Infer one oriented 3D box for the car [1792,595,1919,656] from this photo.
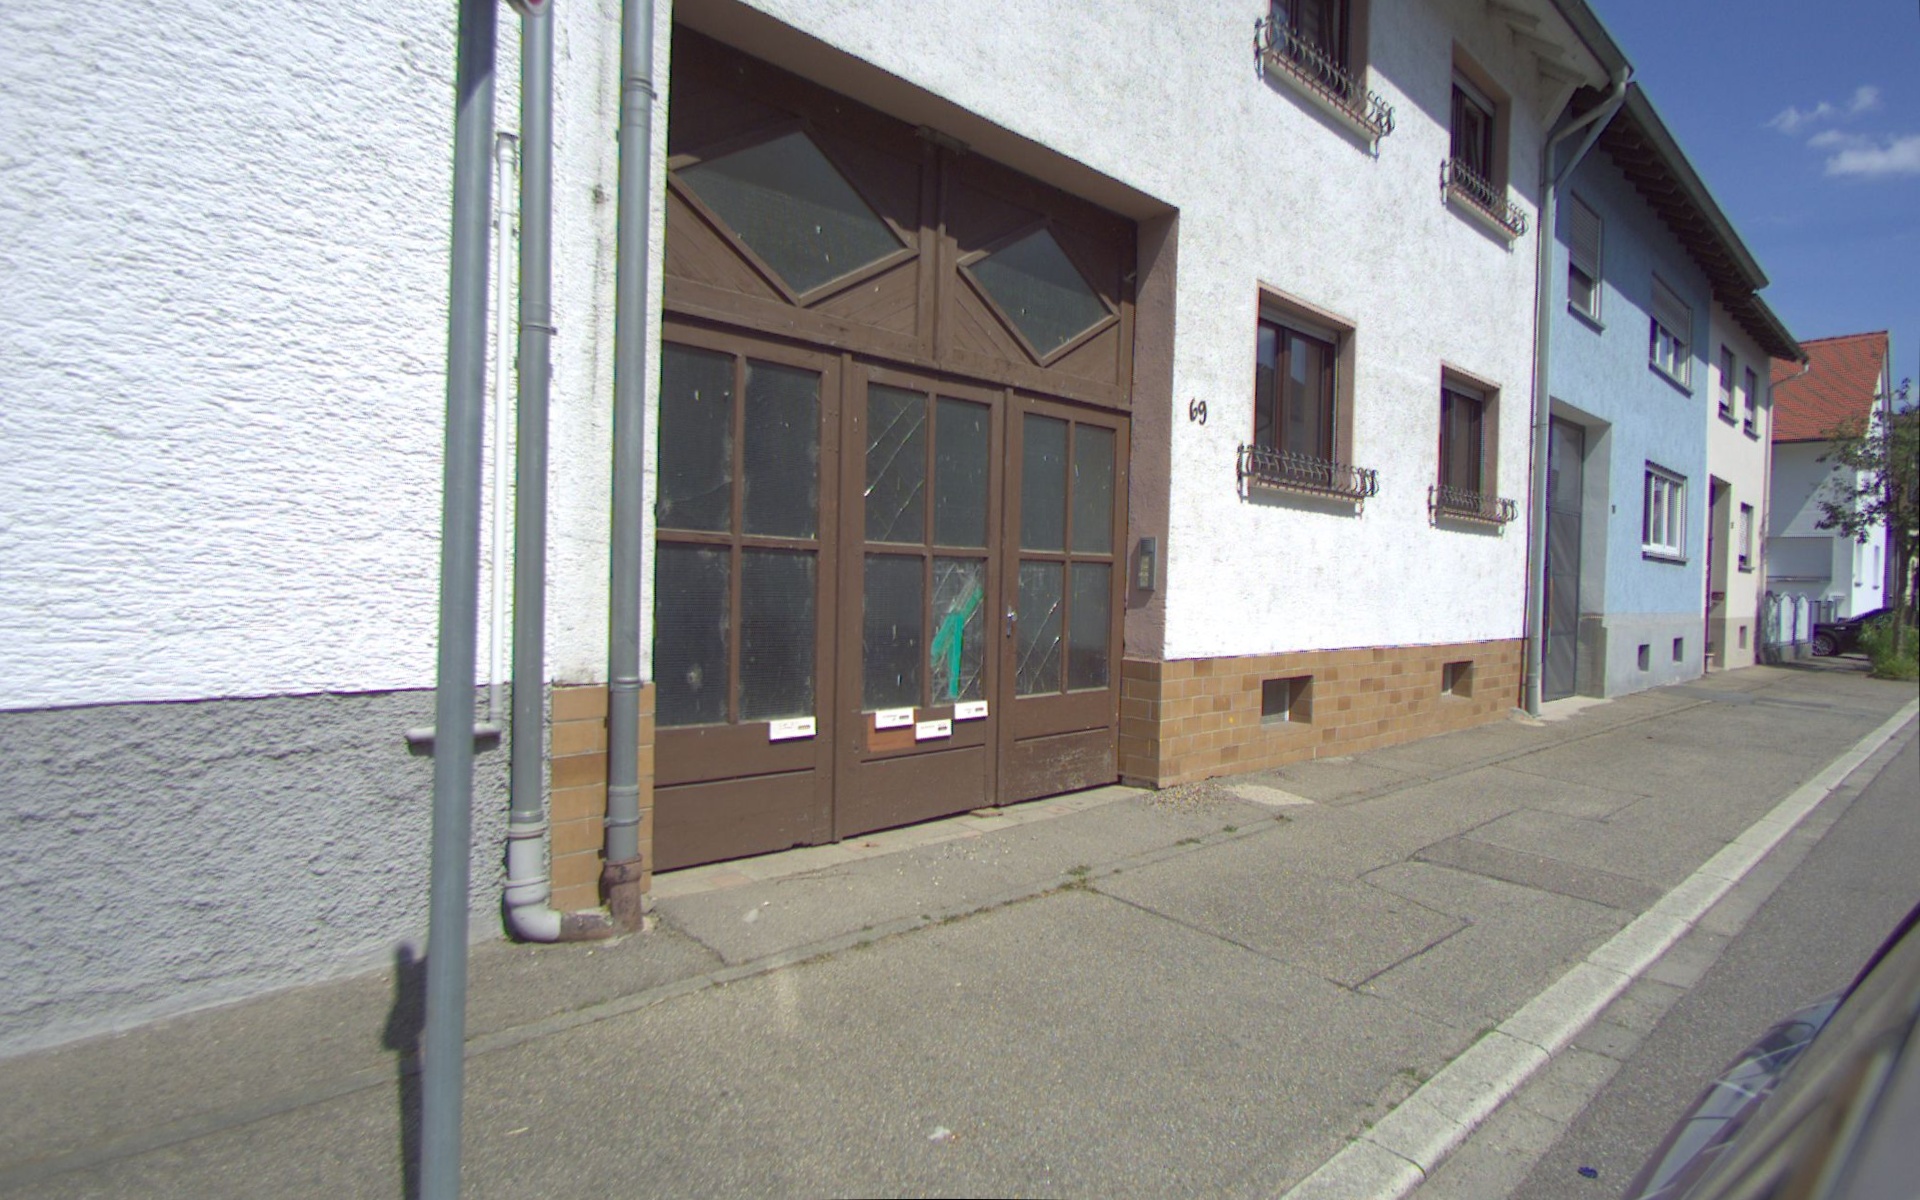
[{"bbox_3d":[24.146,0.657,26.152,1.696,1.446,3.816,1,2,-38],"label":"car"}]
